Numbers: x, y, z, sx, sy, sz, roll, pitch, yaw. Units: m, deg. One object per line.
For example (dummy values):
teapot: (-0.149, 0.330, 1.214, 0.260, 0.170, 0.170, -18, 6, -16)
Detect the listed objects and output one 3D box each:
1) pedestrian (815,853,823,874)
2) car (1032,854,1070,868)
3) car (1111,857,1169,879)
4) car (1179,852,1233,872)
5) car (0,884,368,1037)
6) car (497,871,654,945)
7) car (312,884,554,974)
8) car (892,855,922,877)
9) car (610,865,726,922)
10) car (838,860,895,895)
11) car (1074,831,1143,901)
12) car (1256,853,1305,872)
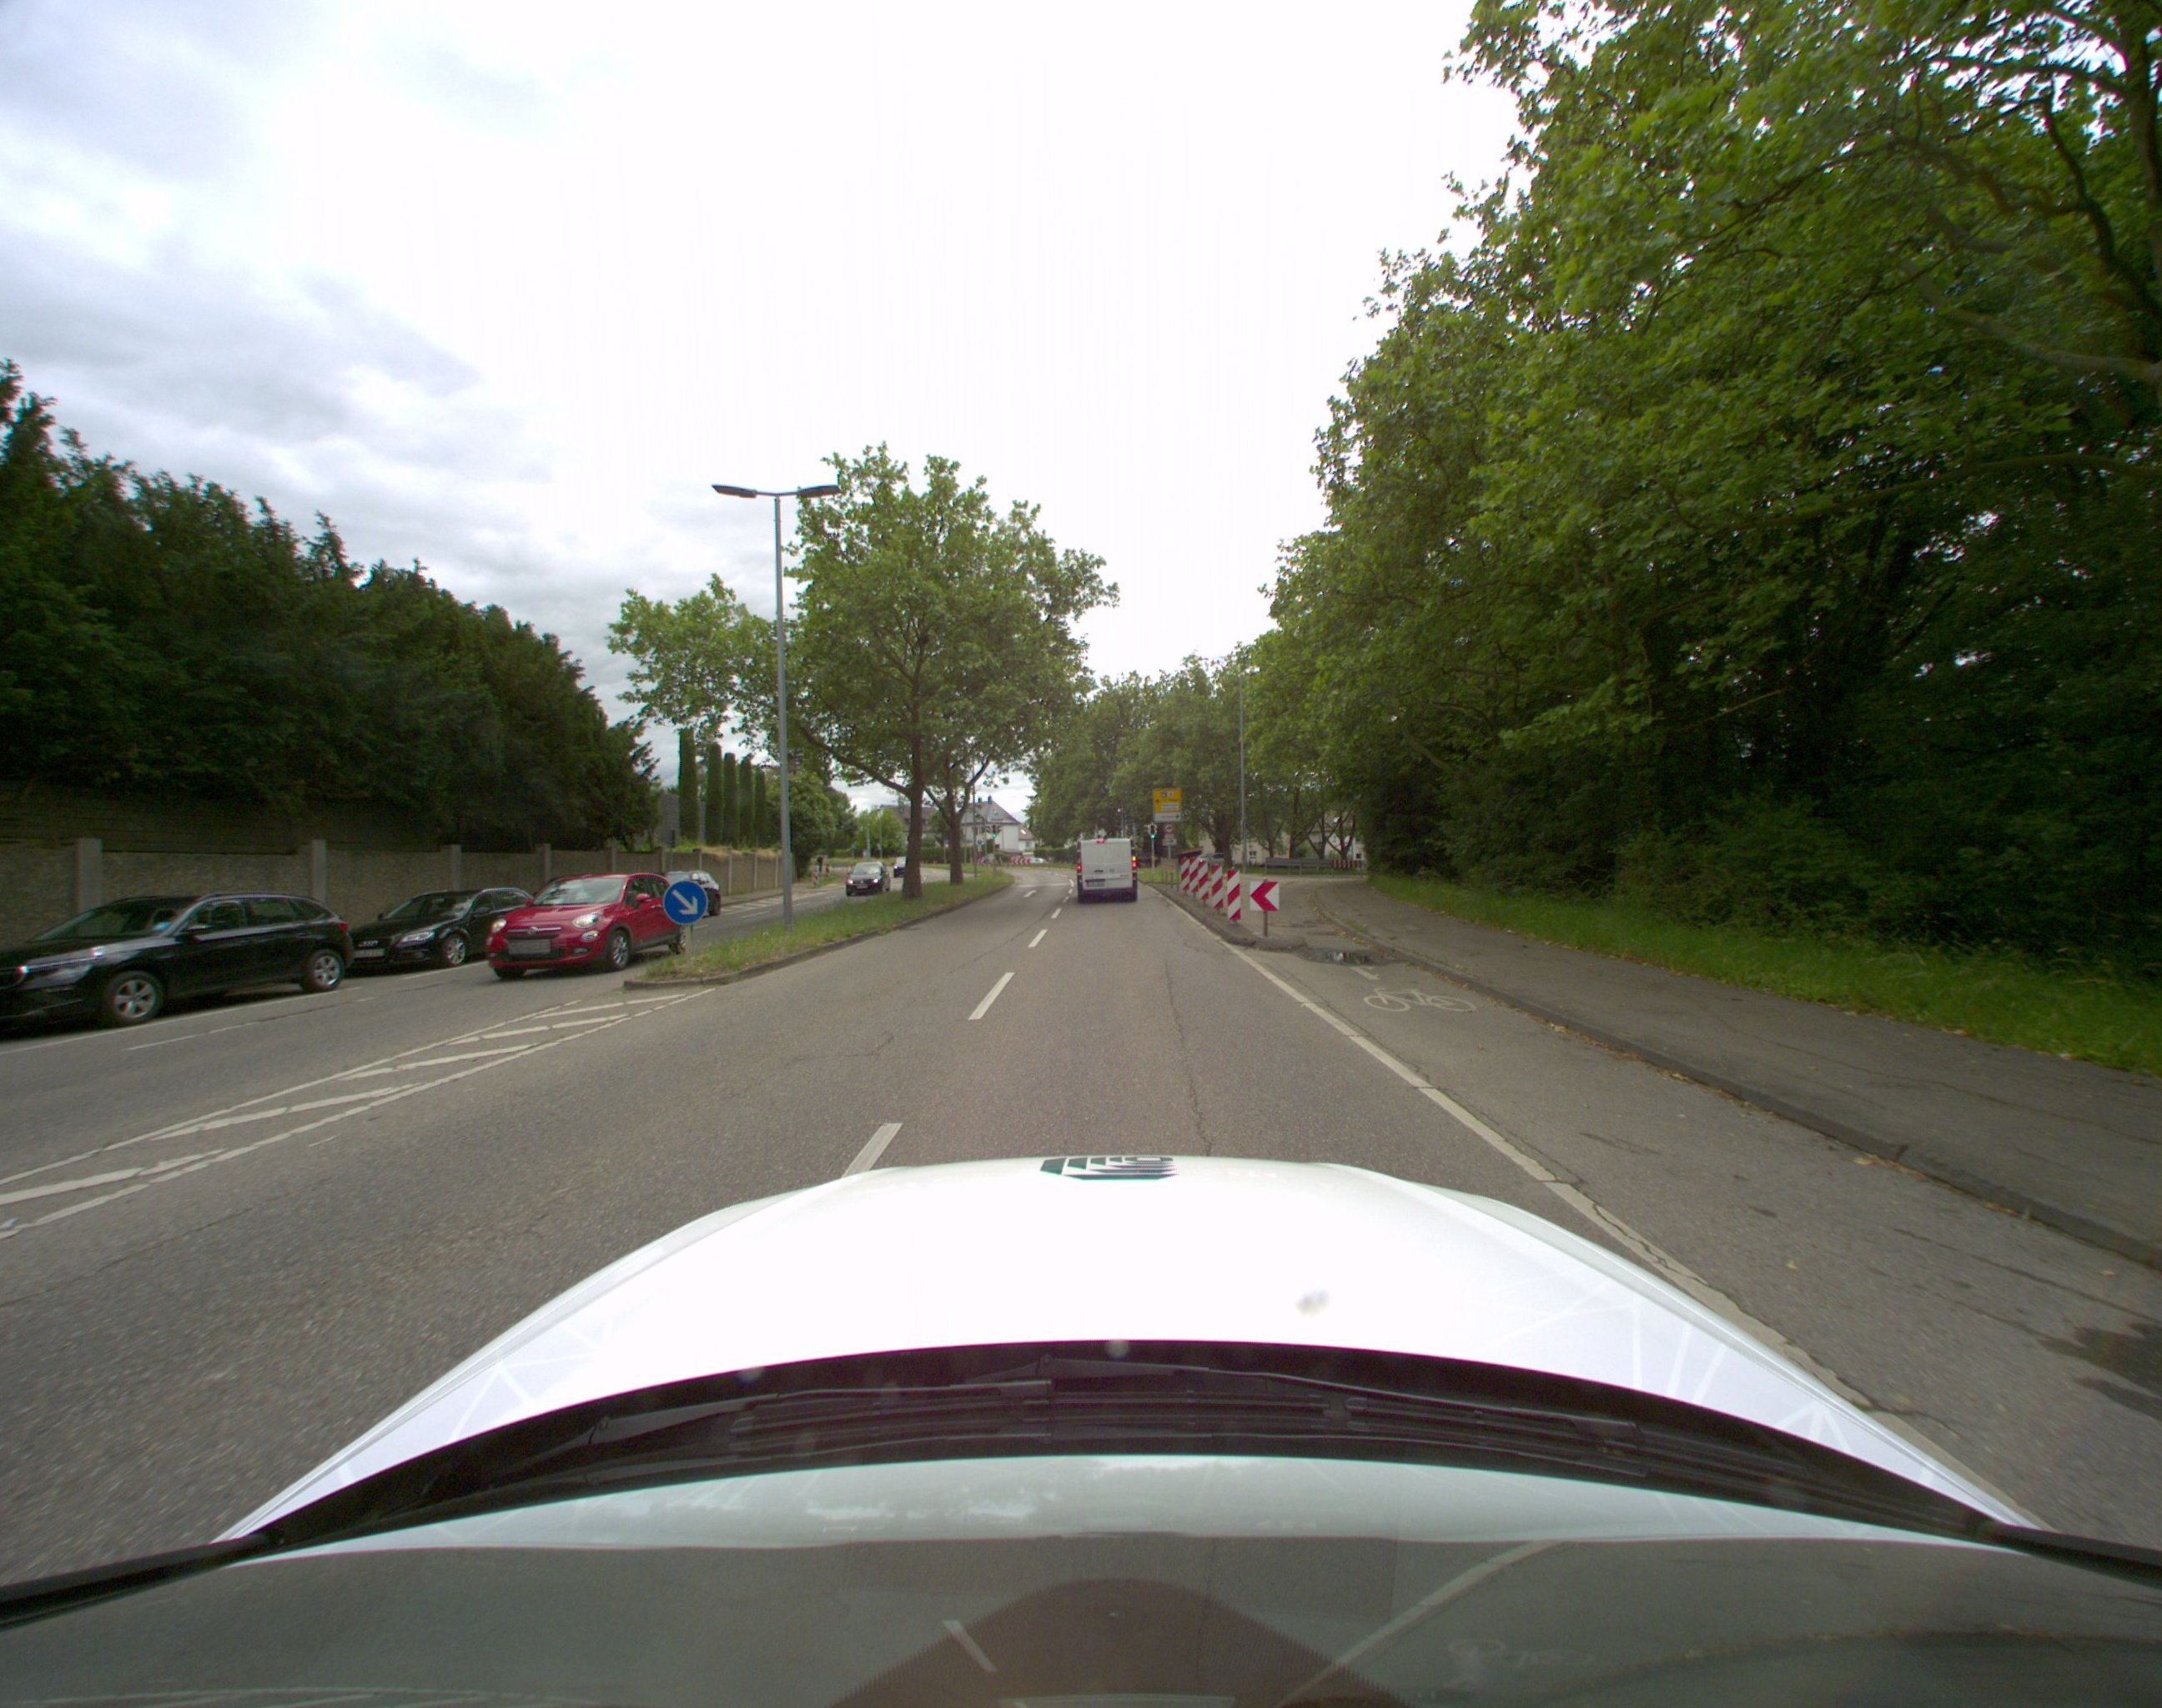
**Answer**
pedestrian: (-25.967, 0.957, 80.760, 0.740, 2.013, 0.630, 1, 1, -15)
car: (-3.978, 0.964, 107.153, 4.683, 1.769, 2.013, -1, 0, 35)
car: (5.155, 1.194, 70.656, 4.763, 1.769, 1.979, -1, 0, -34)
car: (11.459, 0.707, 74.622, 4.763, 1.769, 1.979, -1, 0, -34)
car: (-11.998, 1.237, 10.608, 1.943, 1.511, 4.096, -3, -1, -5)
car: (-12.806, 1.298, 20.962, 1.669, 1.592, 4.089, -3, 0, -5)
car: (-12.390, 1.350, 15.980, 1.645, 1.401, 4.213, -1, -1, -5)
car: (-14.265, 1.003, 66.646, 1.953, 1.625, 4.402, -1, -1, -19)
car: (-13.205, 1.208, 26.343, 1.886, 1.625, 4.420, -1, -1, -6)
car: (-10.533, 1.152, 40.348, 1.994, 1.587, 3.990, -2, -1, -5)
car: (0.812, 0.372, 26.854, 2.000, 2.038, 5.008, -2, 0, -1)
car: (19.593, 0.776, 80.015, 4.763, 1.769, 1.979, -1, 0, -34)
